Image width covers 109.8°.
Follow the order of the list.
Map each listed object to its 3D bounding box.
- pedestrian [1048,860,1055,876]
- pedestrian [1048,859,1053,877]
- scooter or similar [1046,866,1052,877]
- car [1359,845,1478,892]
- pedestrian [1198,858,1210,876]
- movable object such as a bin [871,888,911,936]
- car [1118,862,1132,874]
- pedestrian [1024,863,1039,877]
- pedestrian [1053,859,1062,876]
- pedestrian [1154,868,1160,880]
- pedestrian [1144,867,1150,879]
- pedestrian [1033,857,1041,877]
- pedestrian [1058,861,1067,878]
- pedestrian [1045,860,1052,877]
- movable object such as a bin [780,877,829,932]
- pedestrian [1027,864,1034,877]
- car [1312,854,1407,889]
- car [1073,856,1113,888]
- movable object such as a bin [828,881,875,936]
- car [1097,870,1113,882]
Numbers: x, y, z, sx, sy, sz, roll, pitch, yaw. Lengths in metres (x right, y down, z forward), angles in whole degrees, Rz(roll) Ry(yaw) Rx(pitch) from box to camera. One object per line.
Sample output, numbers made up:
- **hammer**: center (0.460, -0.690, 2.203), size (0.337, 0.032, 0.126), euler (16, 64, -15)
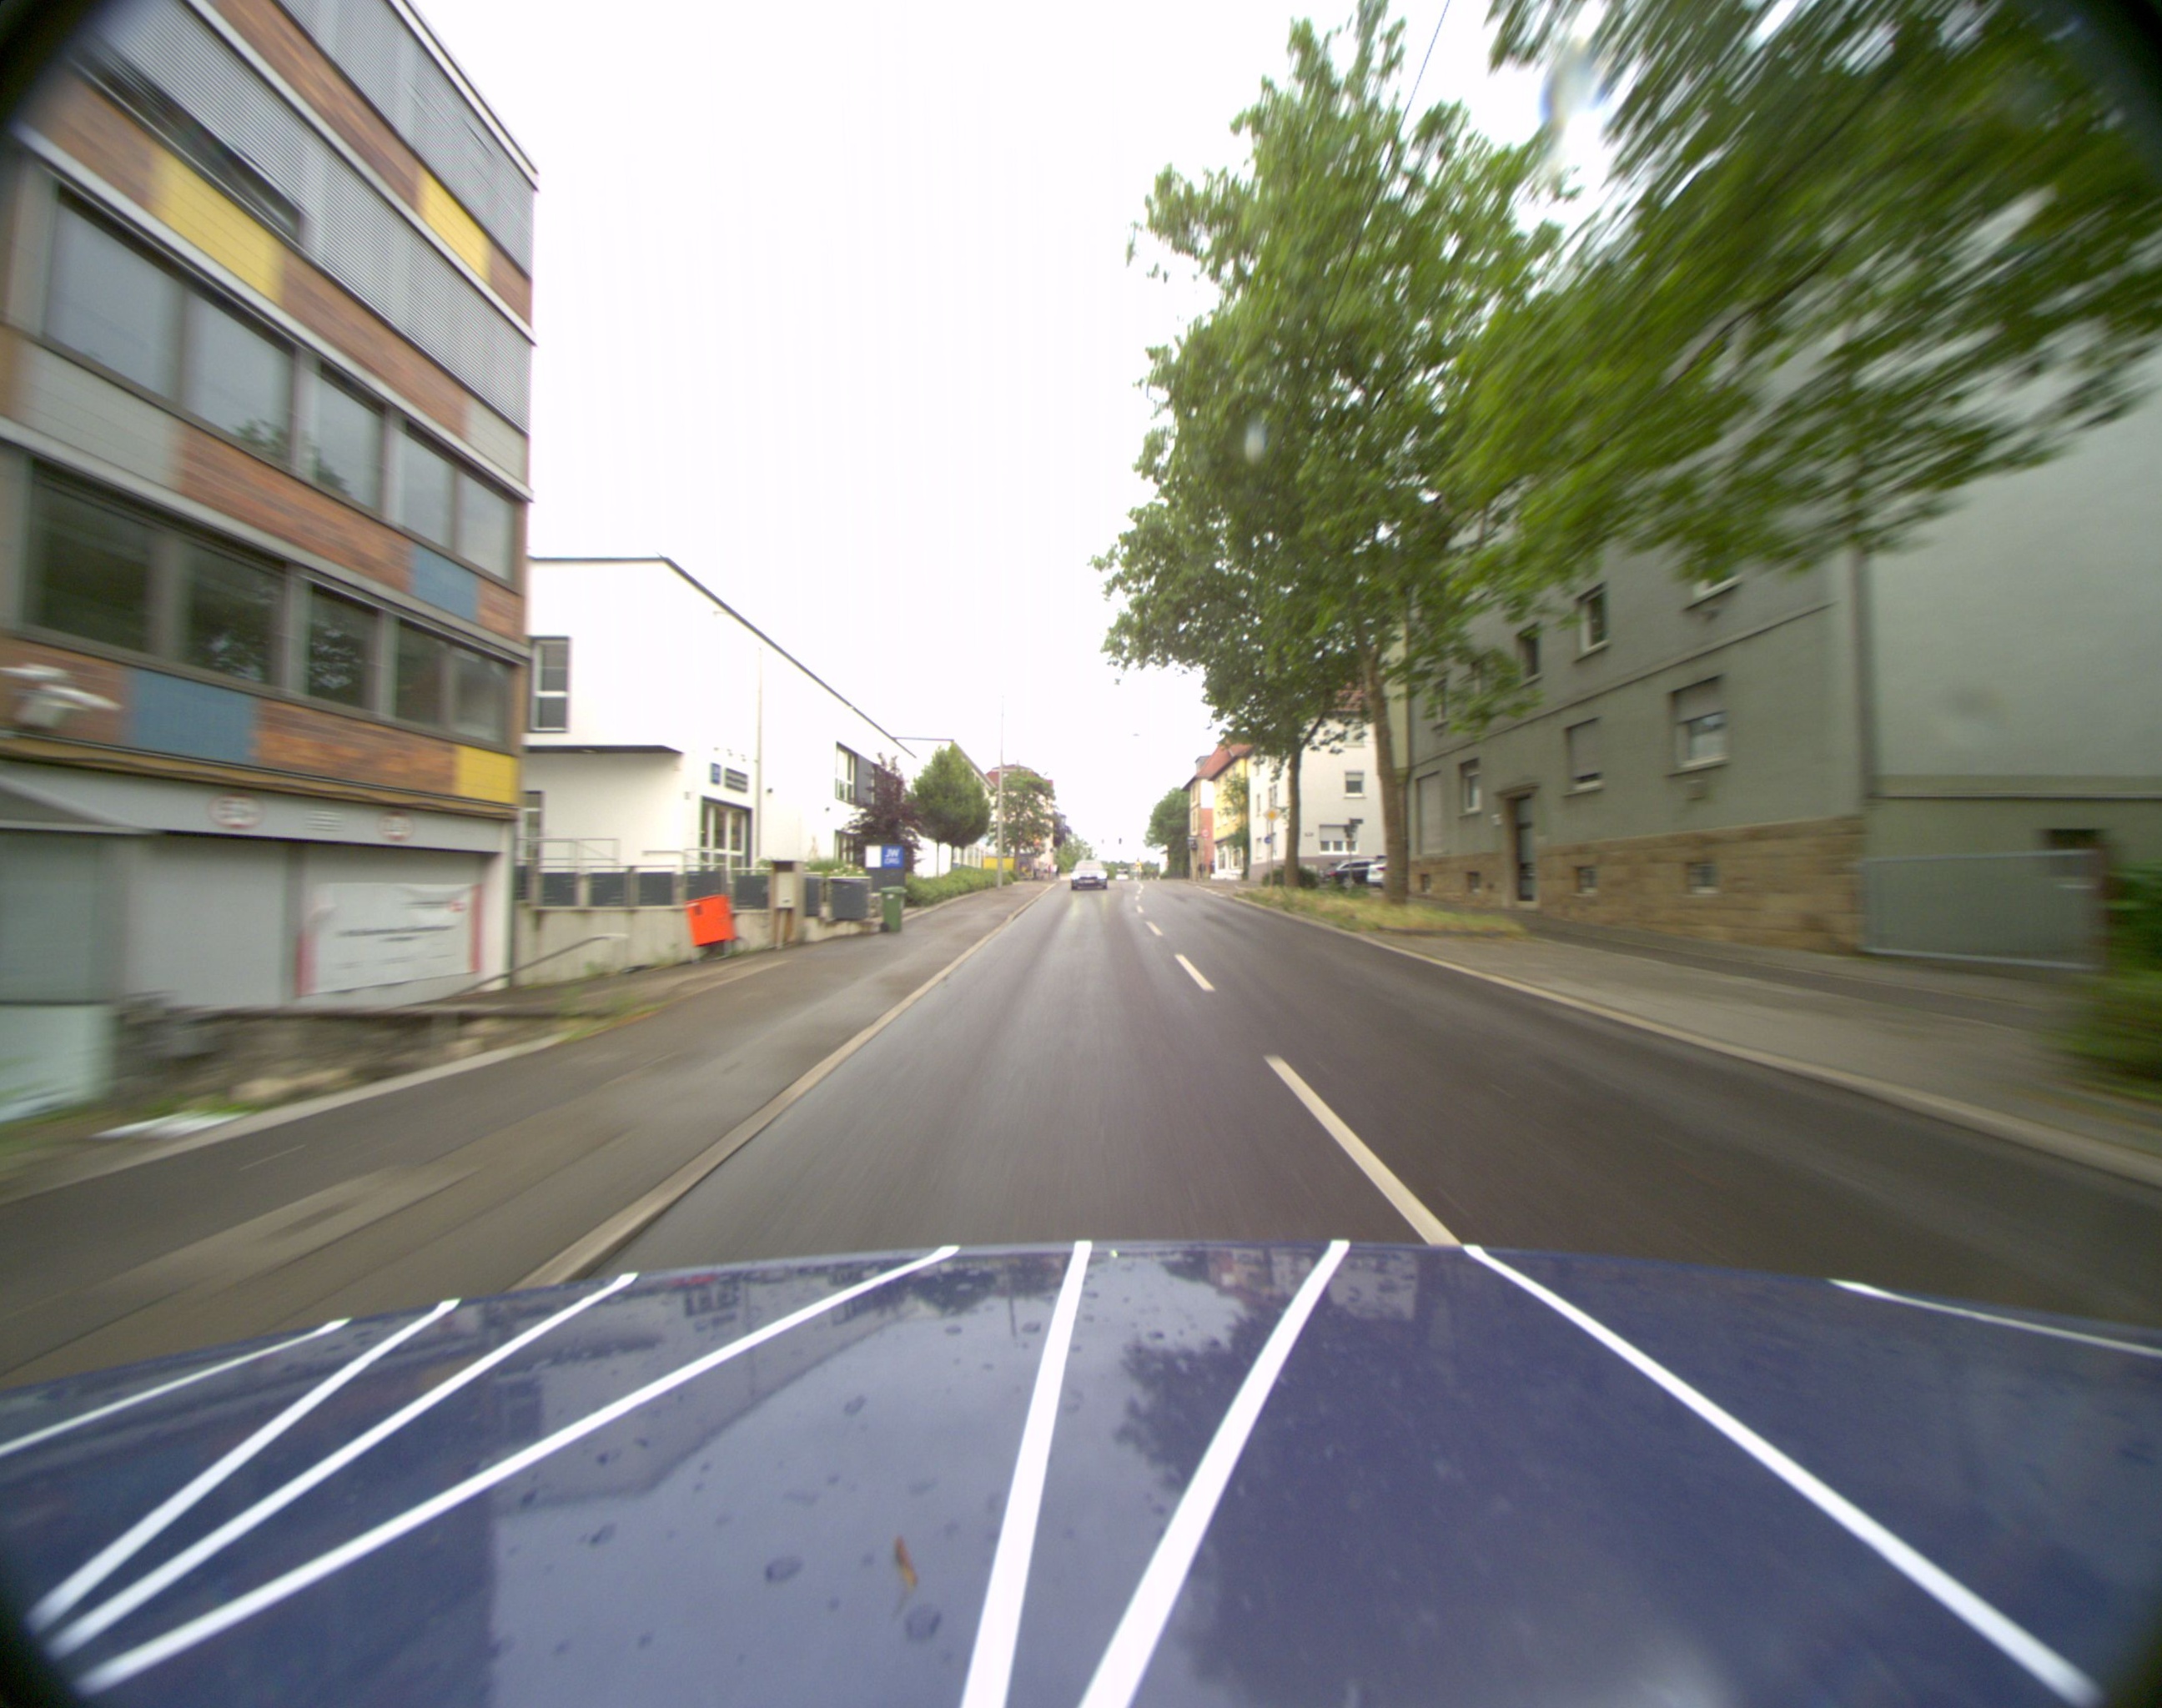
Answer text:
- **pedestrian**: center (-3.074, 1.444, 79.811), size (0.446, 1.697, 0.559), euler (1, -1, 40)
- **pedestrian**: center (-3.174, 1.468, 79.042), size (0.460, 1.829, 0.604), euler (2, -1, -4)
- **scooter or similar**: center (-3.197, 1.737, 76.227), size (0.619, 1.133, 0.567), euler (1, -1, -4)
- **car**: center (14.519, 0.613, 32.881), size (4.192, 1.693, 2.000), euler (-4, -1, 1)
- **pedestrian**: center (11.248, 1.190, 69.443), size (0.817, 1.669, 0.993), euler (-2, 0, -1)
- **movable object such as a bin**: center (-4.010, 1.216, 16.085), size (0.621, 0.931, 0.686), euler (2, 0, 2)
- **car**: center (6.474, 2.066, 112.735), size (1.886, 1.858, 4.454), euler (0, -1, 1)
- **pedestrian**: center (-4.753, 1.533, 72.640), size (1.359, 1.265, 0.741), euler (1, -1, -4)
- **pedestrian**: center (-2.480, 1.427, 80.355), size (0.634, 1.863, 0.486), euler (3, -1, -39)
- **pedestrian**: center (11.780, 3.073, 117.650), size (0.808, 1.810, 1.117), euler (-1, -3, 1)
- **pedestrian**: center (10.294, 2.926, 118.923), size (0.864, 1.870, 1.044), euler (0, -3, 0)
- **pedestrian**: center (-4.054, 1.235, 70.066), size (0.648, 1.820, 0.741), euler (1, -1, -4)
- **pedestrian**: center (-1.934, 1.644, 80.756), size (0.638, 1.699, 0.747), euler (3, -1, -32)
- **pedestrian**: center (-3.257, 1.466, 76.872), size (0.662, 1.731, 0.829), euler (1, -1, -4)
- **movable object such as a bin**: center (-5.780, 1.046, 15.915), size (0.696, 1.076, 0.779), euler (2, 0, 2)
- **pedestrian**: center (-4.955, 1.610, 74.179), size (0.662, 1.191, 0.741), euler (1, -1, -4)
- **car**: center (14.011, 0.889, 38.364), size (3.997, 1.444, 2.000), euler (-4, -1, 0)
- **car**: center (0.647, 0.940, 37.356), size (1.837, 1.429, 4.003), euler (-1, -3, 2)
- **movable object such as a bin**: center (-4.801, 1.131, 15.945), size (0.696, 1.076, 0.779), euler (2, 0, 2)
- **car**: center (2.812, 2.577, 89.574), size (1.837, 1.429, 4.001), euler (0, 0, 3)
